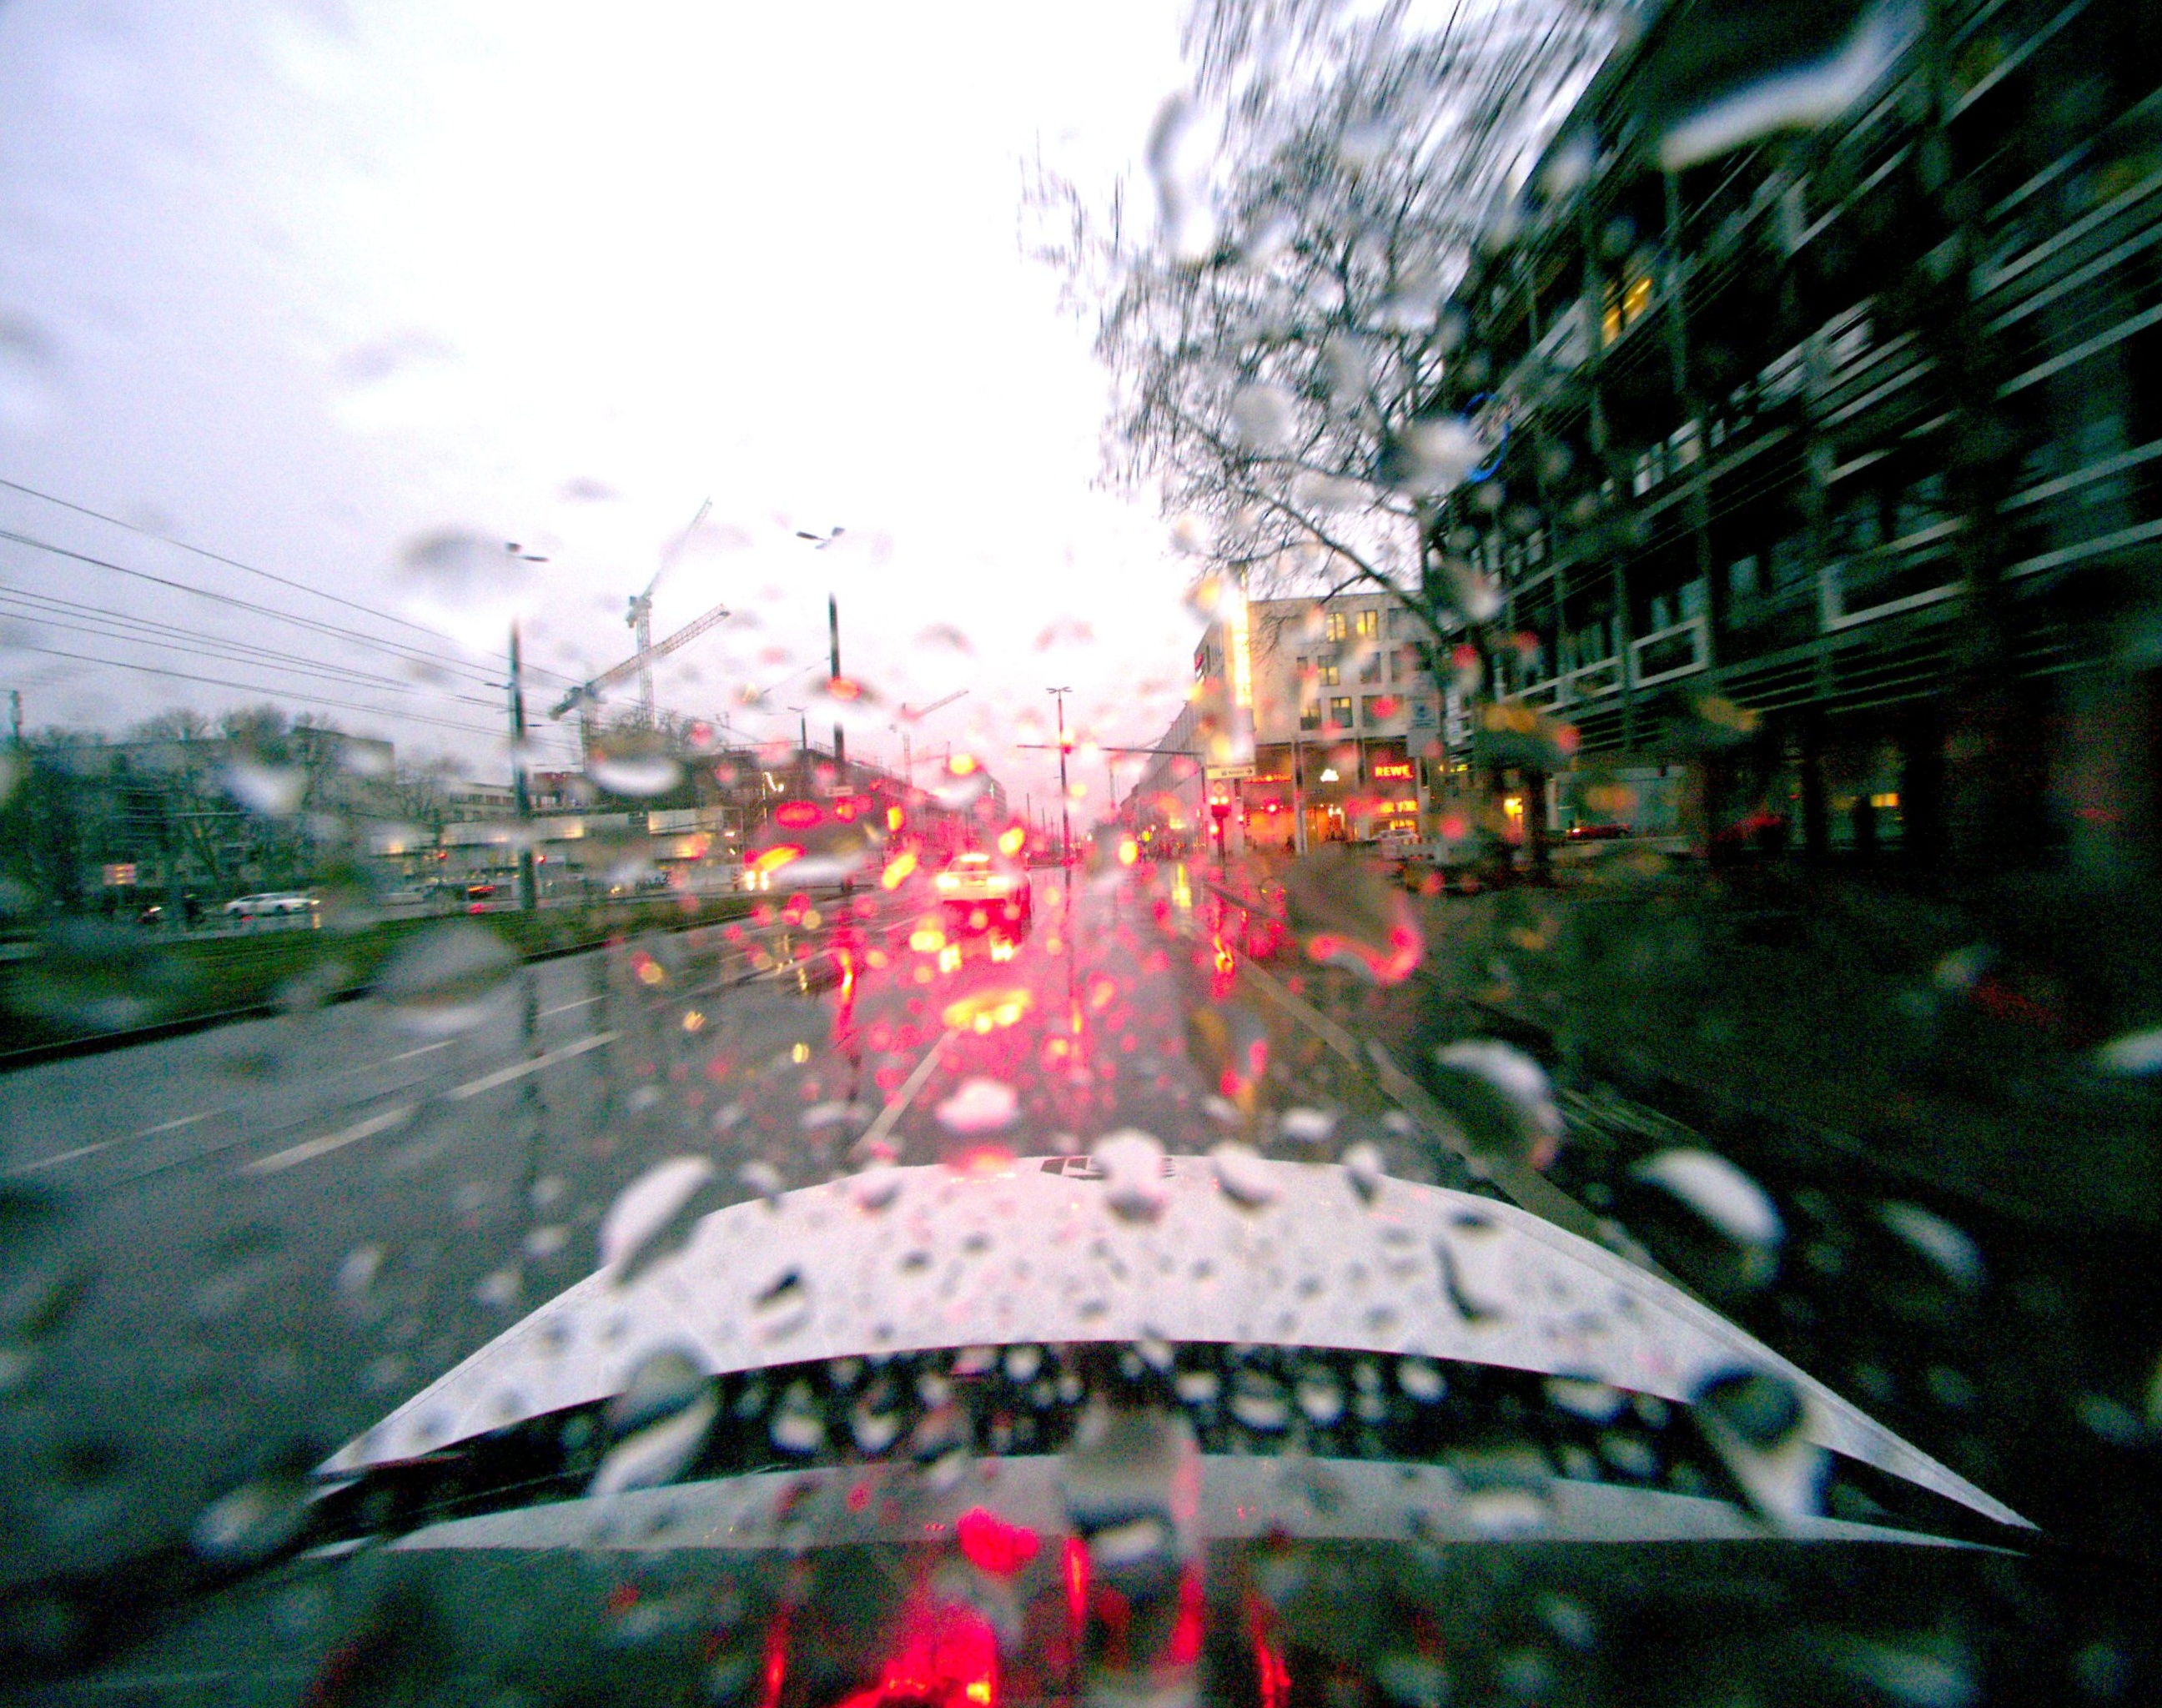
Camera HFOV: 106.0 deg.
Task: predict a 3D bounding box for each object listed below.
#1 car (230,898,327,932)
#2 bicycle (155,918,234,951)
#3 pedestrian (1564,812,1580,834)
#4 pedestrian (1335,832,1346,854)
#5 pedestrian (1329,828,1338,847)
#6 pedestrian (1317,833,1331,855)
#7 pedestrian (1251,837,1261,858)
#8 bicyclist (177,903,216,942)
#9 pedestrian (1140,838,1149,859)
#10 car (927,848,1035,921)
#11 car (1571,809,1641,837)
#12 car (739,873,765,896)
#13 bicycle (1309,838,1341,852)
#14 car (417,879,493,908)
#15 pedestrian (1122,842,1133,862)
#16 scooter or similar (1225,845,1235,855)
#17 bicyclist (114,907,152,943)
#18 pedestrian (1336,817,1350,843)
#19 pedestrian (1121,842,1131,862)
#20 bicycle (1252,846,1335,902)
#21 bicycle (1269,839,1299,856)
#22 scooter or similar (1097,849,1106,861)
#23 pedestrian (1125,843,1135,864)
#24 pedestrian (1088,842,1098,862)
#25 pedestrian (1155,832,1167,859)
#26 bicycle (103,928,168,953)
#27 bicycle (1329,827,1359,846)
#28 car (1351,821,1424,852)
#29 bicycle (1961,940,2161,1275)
[{"bbox_3d":[-50.185,3.811,50.994,3.974,1.683,2.000,-4,1,0],"label":"car"},{"bbox_3d":[-44.675,4.052,41.047,2.828,1.362,0.719,-5,0,-7],"label":"bicycle"},{"bbox_3d":[37.851,-2.403,62.800,0.791,1.631,0.710,-2,0,3],"label":"pedestrian"},{"bbox_3d":[20.259,-0.856,63.640,0.530,1.685,0.552,-4,0,41],"label":"pedestrian"},{"bbox_3d":[23.110,-1.506,74.397,0.530,1.717,0.506,-4,0,41],"label":"pedestrian"},{"bbox_3d":[17.894,-0.719,59.913,0.811,1.570,0.537,-4,0,3],"label":"pedestrian"},{"bbox_3d":[15.261,-0.572,71.007,0.700,1.760,0.653,-4,0,3],"label":"pedestrian"},{"bbox_3d":[-44.562,3.451,41.036,0.992,1.838,0.719,-5,0,-6],"label":"bicyclist"},{"bbox_3d":[5.339,-0.437,68.806,0.617,1.745,0.612,-4,0,-2],"label":"pedestrian"},{"bbox_3d":[-2.410,0.682,20.914,1.902,1.520,4.926,-4,0,2],"label":"car"},{"bbox_3d":[35.493,-2.087,55.119,3.557,1.582,1.677,-4,0,0],"label":"car"},{"bbox_3d":[-31.979,2.903,79.293,1.759,2.013,3.979,-4,1,-15],"label":"car"},{"bbox_3d":[17.917,-0.662,59.864,2.119,0.991,0.542,-2,0,2],"label":"bicycle"},{"bbox_3d":[-47.419,2.972,61.756,3.979,1.749,1.998,-4,1,-4],"label":"car"},{"bbox_3d":[3.821,-0.186,66.992,0.704,1.619,0.613,-4,0,1],"label":"pedestrian"},{"bbox_3d":[13.422,-0.367,73.370,0.737,0.916,0.401,-4,0,4],"label":"scooter or similar"},{"bbox_3d":[-48.486,3.625,41.657,1.031,1.696,0.617,-4,0,-4],"label":"bicyclist"},{"bbox_3d":[17.183,-1.569,53.483,0.774,1.595,0.616,-4,0,18],"label":"pedestrian"},{"bbox_3d":[3.772,-0.204,68.674,0.703,1.619,0.681,-4,0,4],"label":"pedestrian"},{"bbox_3d":[4.977,0.466,19.139,1.746,1.148,0.435,-6,0,-2],"label":"bicycle"},{"bbox_3d":[17.949,-0.556,72.002,2.419,1.329,0.634,-4,1,-2],"label":"bicycle"},{"bbox_3d":[1.767,0.088,69.991,0.738,0.993,0.400,-4,0,0],"label":"scooter or similar"},{"bbox_3d":[4.239,-0.081,70.773,0.699,1.760,0.668,-4,0,3],"label":"pedestrian"},{"bbox_3d":[1.003,-0.189,69.995,0.738,1.667,0.400,-4,0,0],"label":"pedestrian"},{"bbox_3d":[6.554,-0.693,66.734,0.691,2.087,0.606,-4,0,-37],"label":"pedestrian"},{"bbox_3d":[-48.354,4.398,41.662,2.368,1.033,0.617,-4,0,-4],"label":"bicycle"},{"bbox_3d":[17.278,-1.157,53.484,1.830,1.093,0.620,-4,0,18],"label":"bicycle"},{"bbox_3d":[20.995,-1.190,55.926,4.281,1.761,1.710,-4,1,6],"label":"car"},{"bbox_3d":[4.412,0.824,2.942,1.782,0.974,0.617,-5,0,-2],"label":"bicycle"}]
